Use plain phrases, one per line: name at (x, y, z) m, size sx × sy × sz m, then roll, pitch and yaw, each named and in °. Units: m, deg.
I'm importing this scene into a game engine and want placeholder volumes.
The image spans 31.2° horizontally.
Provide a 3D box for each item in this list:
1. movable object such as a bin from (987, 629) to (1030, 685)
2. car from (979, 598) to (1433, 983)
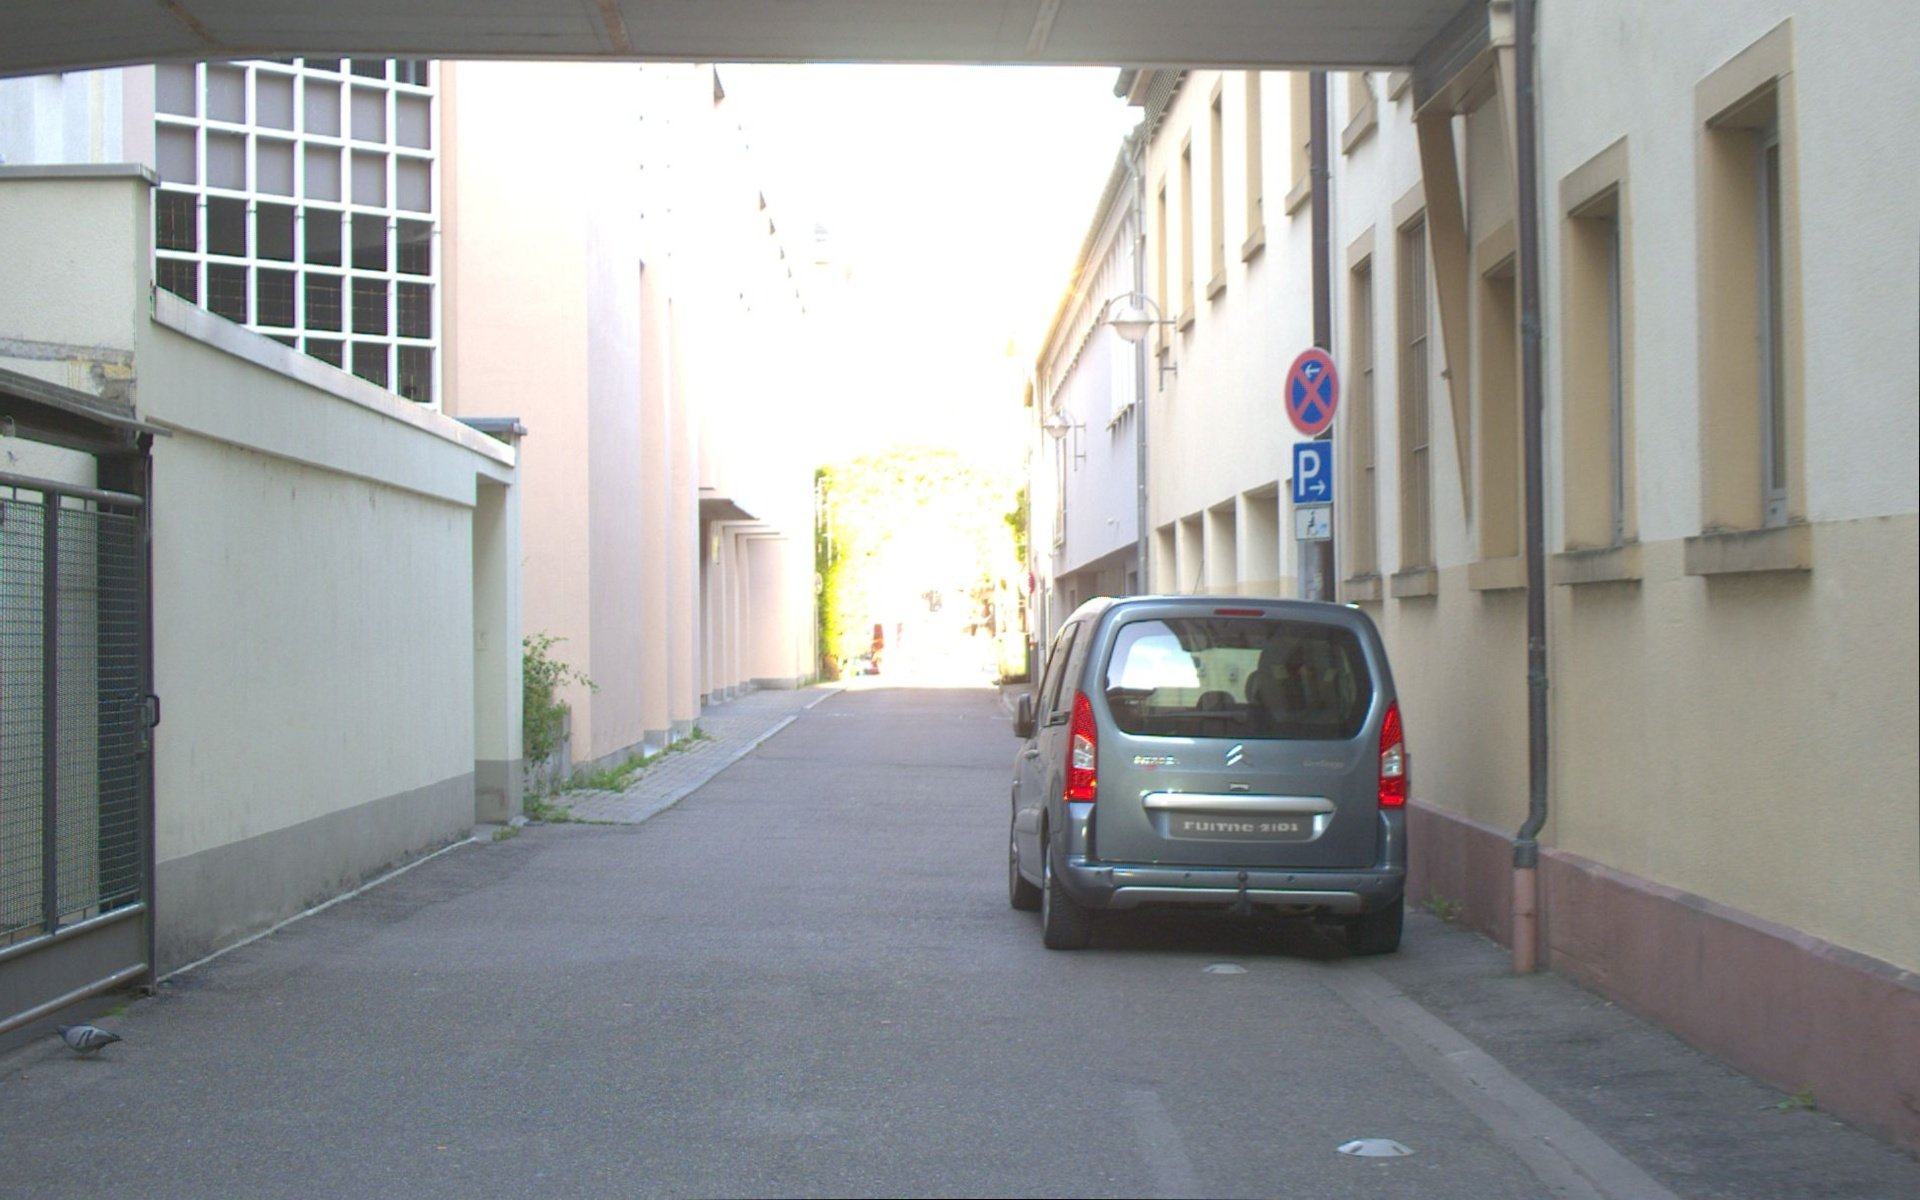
movable object such as a bin at (1.288, 1.502, 90.918) m, size 1.107 × 1.431 × 1.414 m, roll 0°, pitch 1°, yaw 0°
car at (1.192, 0.952, 18.507) m, size 1.855 × 1.750 × 4.162 m, roll 3°, pitch -1°, yaw -3°
